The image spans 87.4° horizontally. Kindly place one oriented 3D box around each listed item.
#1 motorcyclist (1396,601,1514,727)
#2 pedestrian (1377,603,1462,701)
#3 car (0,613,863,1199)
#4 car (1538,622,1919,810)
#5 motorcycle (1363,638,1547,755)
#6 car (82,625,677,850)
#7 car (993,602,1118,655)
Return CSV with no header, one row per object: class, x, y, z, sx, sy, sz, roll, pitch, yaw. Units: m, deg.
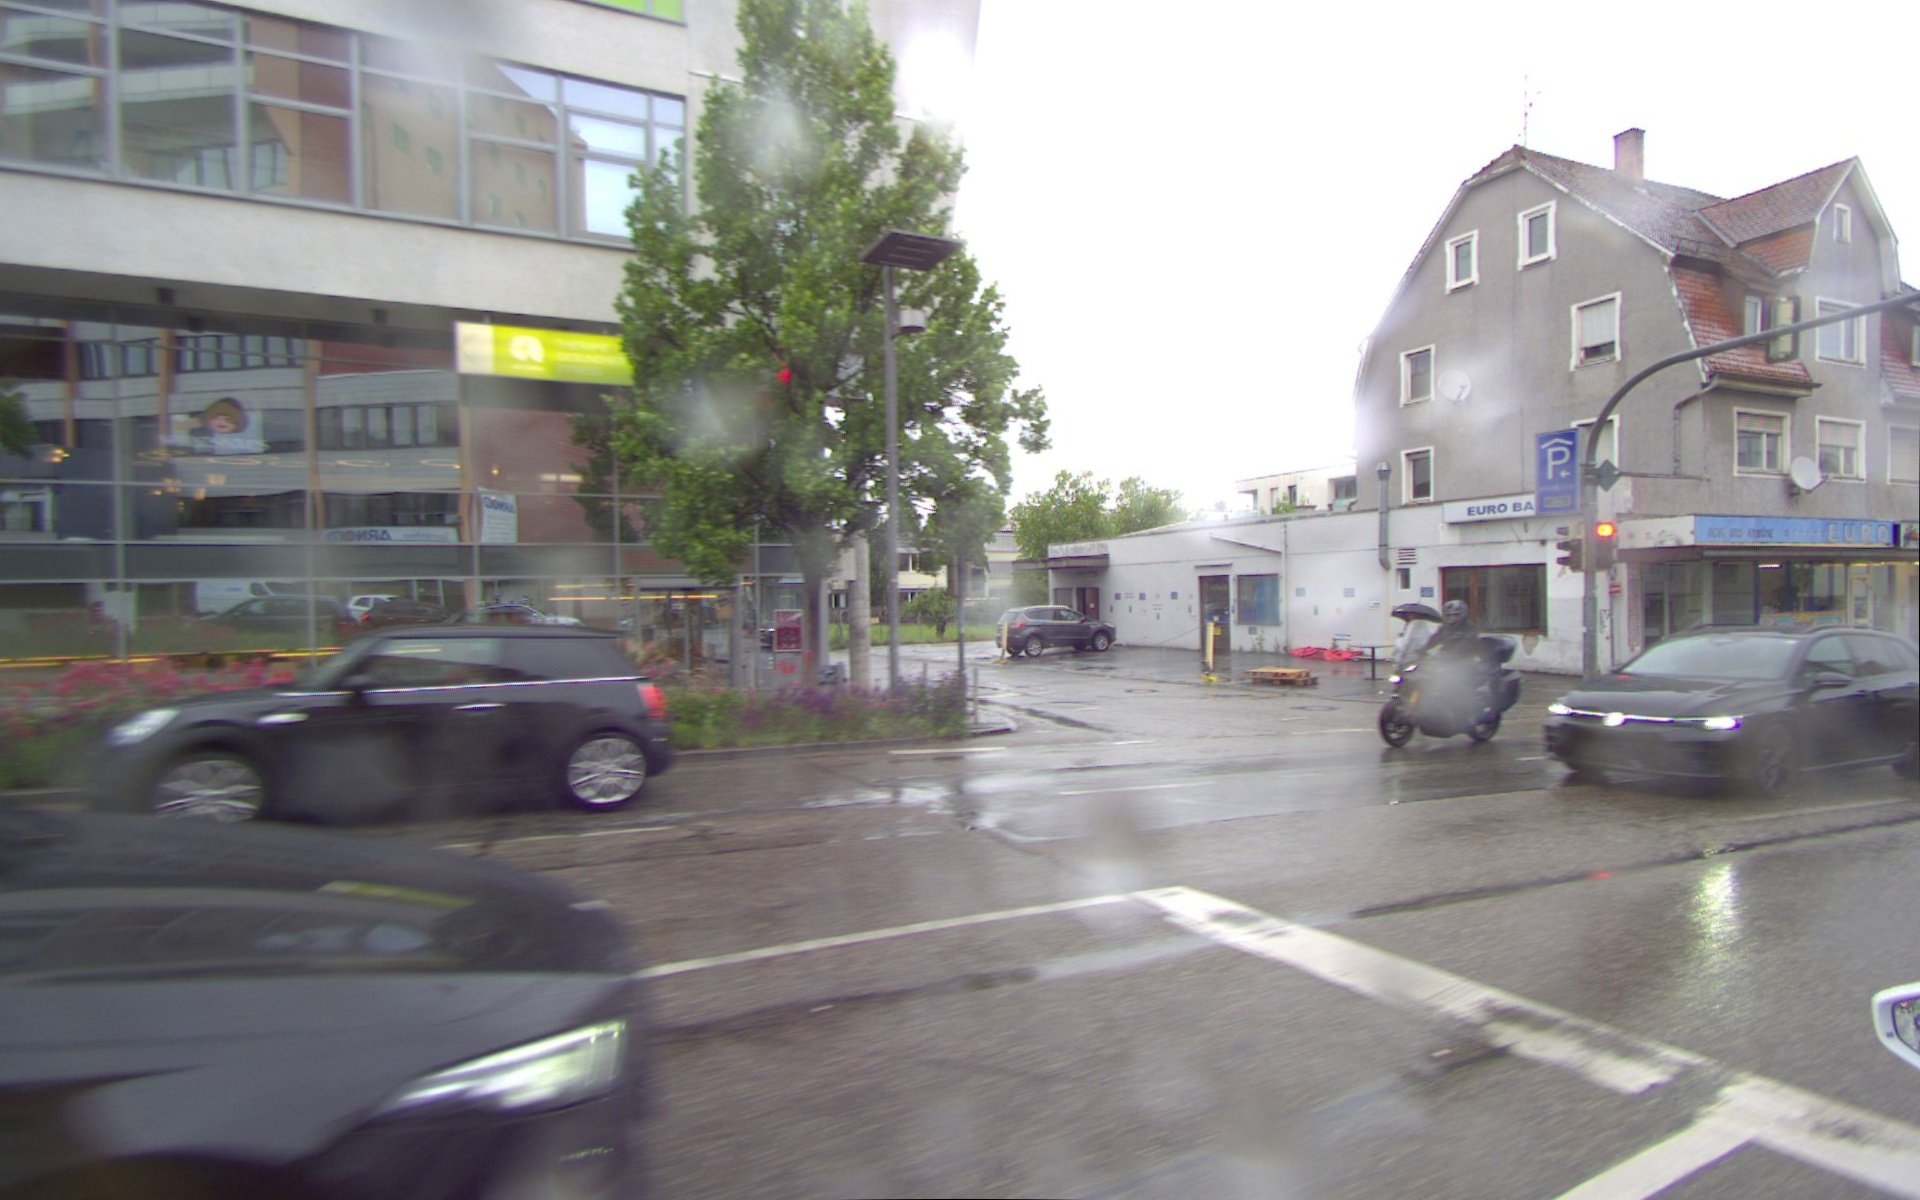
motorcyclist,6.076,0.763,12.337,1.125,1.475,0.782,1,-1,-26
pedestrian,8.825,0.977,19.300,1.218,1.812,0.921,1,-1,-28
car,-2.389,0.746,1.496,4.149,1.469,1.707,1,-1,-30
car,7.748,0.974,9.663,4.324,1.453,1.752,1,-1,-27
motorcycle,6.072,1.138,12.316,2.156,1.300,0.904,1,-1,-26
car,-4.142,0.900,7.700,3.555,1.355,1.635,1,-1,-27
car,3.404,1.028,35.732,4.102,1.778,1.748,1,-1,-22
